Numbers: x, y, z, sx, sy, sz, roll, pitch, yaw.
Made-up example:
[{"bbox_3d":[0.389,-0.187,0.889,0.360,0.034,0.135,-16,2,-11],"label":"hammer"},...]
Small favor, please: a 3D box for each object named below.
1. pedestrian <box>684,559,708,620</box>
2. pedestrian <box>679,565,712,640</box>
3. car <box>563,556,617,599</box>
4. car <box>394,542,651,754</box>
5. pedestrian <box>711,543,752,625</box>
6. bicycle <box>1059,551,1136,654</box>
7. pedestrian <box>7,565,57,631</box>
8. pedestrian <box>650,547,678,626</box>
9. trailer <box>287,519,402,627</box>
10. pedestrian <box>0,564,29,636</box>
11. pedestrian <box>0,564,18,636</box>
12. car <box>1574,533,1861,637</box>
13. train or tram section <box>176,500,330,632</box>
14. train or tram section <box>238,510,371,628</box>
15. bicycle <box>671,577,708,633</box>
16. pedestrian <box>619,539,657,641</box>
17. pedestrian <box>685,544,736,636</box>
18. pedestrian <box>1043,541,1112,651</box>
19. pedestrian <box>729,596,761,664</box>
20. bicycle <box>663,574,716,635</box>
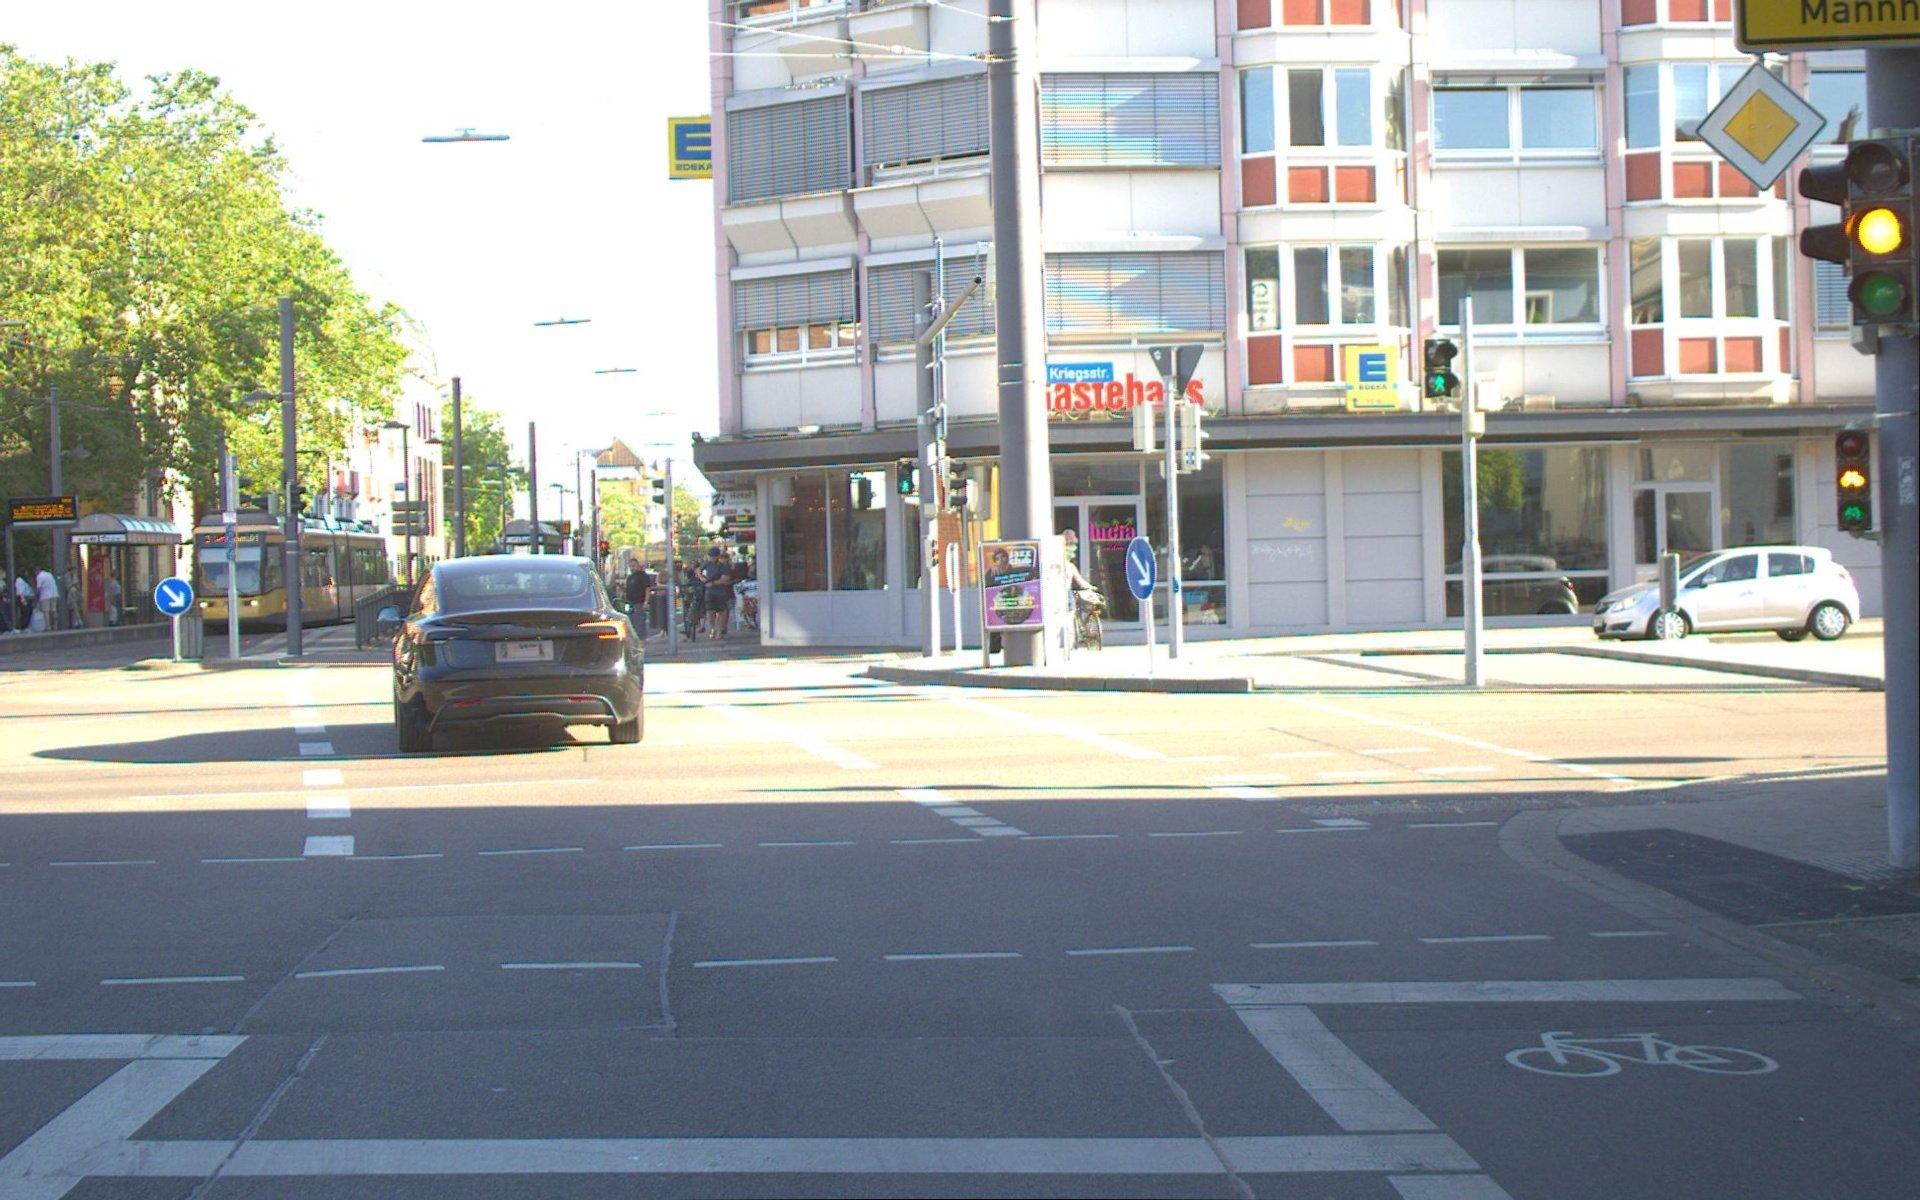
[{"bbox_3d":[-8.333,-0.324,108.455,0.696,1.890,0.750,-1,0,-2],"label":"pedestrian"},{"bbox_3d":[-5.945,0.052,77.305,0.696,1.672,0.750,-1,0,-2],"label":"pedestrian"},{"bbox_3d":[-14.798,-0.884,137.768,1.737,1.659,3.709,-1,0,0],"label":"car"},{"bbox_3d":[-3.462,0.310,26.776,1.790,1.446,3.941,-2,1,-9],"label":"car"},{"bbox_3d":[-4.730,-0.335,71.133,0.686,1.683,0.671,-1,0,-17],"label":"pedestrian"},{"bbox_3d":[1.996,0.040,50.218,0.582,1.458,1.686,-2,0,-16],"label":"bicycle"},{"bbox_3d":[-22.863,-0.050,84.736,1.105,1.619,0.848,-1,0,-11],"label":"pedestrian"},{"bbox_3d":[-5.921,-0.266,68.811,0.471,1.557,0.545,-1,0,-11],"label":"pedestrian"},{"bbox_3d":[-21.097,-0.895,118.257,2.713,3.534,9.359,-1,0,-3],"label":"trailer"},{"bbox_3d":[-22.849,-0.007,82.748,0.635,1.715,0.609,-1,0,6],"label":"pedestrian"},{"bbox_3d":[-22.926,0.010,82.125,0.635,1.715,0.585,-1,0,6],"label":"pedestrian"},{"bbox_3d":[11.479,-0.217,52.232,3.840,1.427,1.804,-1,-2,-5],"label":"car"},{"bbox_3d":[-20.126,-0.920,98.418,2.729,3.530,10.087,-1,0,-3],"label":"train or tram section"},{"bbox_3d":[-20.602,-0.925,108.525,2.713,3.534,10.169,-1,0,-3],"label":"train or tram section"},{"bbox_3d":[-5.399,0.099,68.532,0.488,1.098,2.125,-1,0,-11],"label":"bicycle"},{"bbox_3d":[-5.676,-0.169,60.567,0.626,1.776,0.918,-1,0,-6],"label":"pedestrian"},{"bbox_3d":[-4.820,-0.191,66.495,0.914,1.748,0.839,-1,0,-1],"label":"pedestrian"},{"bbox_3d":[1.705,-0.070,50.086,0.779,1.571,0.868,-1,1,-15],"label":"pedestrian"},{"bbox_3d":[-5.344,0.731,85.396,0.747,1.672,0.699,-1,0,-2],"label":"pedestrian"},{"bbox_3d":[-5.213,0.085,66.143,0.488,1.157,1.974,-1,0,-20],"label":"bicycle"}]
